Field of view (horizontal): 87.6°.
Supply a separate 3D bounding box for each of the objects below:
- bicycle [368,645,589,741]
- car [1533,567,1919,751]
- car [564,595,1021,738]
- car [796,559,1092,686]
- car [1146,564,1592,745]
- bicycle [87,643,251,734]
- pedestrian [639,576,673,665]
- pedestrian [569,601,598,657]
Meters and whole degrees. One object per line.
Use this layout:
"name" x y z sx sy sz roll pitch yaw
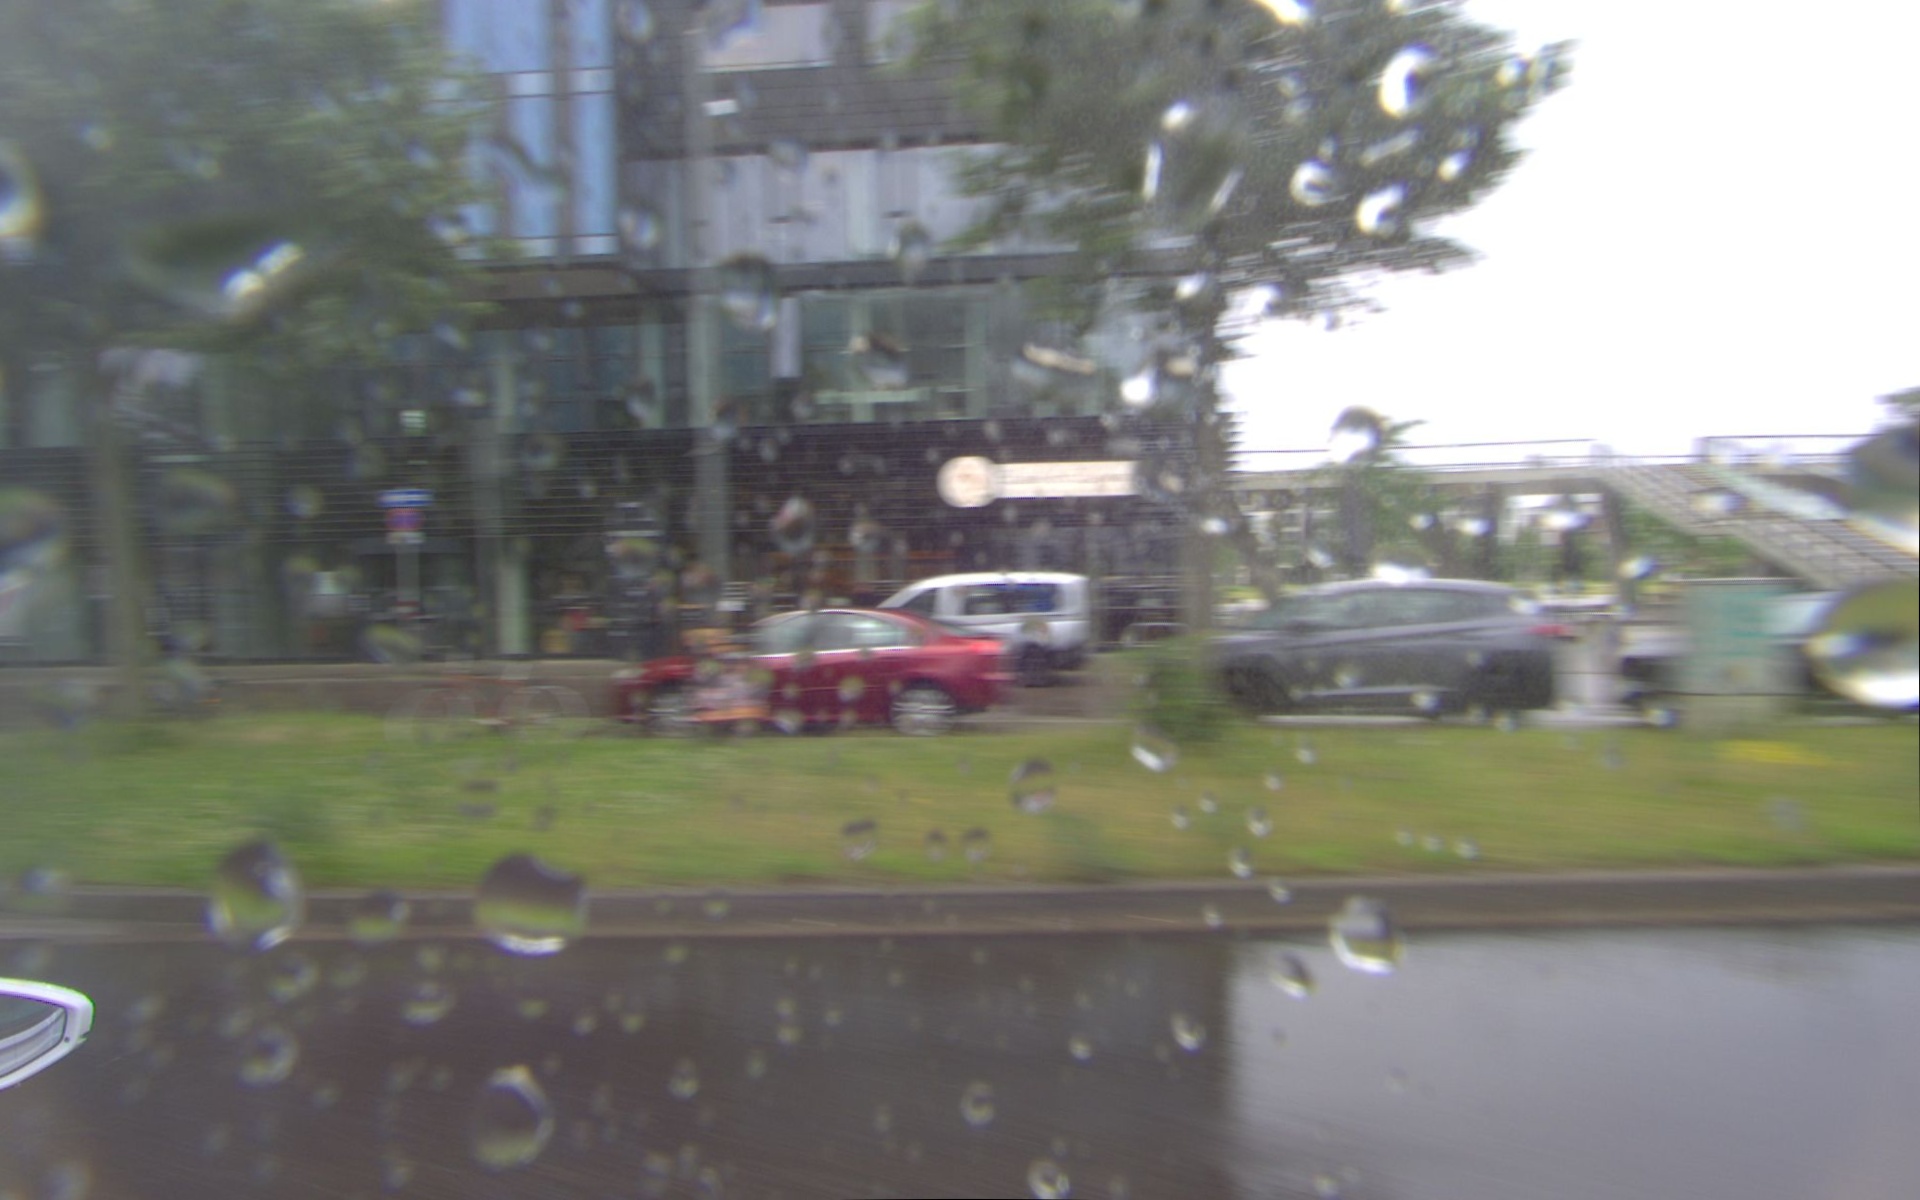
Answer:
"bicycle" -4.711 0.907 9.909 1.879 0.873 0.573 1 2 -11
"car" 9.098 0.585 10.762 4.631 1.730 1.999 1 1 4
"car" -1.759 0.711 11.616 4.863 1.474 1.999 0 1 5
"car" -0.239 0.336 16.772 4.631 1.891 1.899 1 1 2
"car" 4.301 0.533 11.170 4.135 1.730 1.999 1 1 4
"bicycle" -9.220 1.000 11.717 0.427 0.929 1.452 2 2 37
"pedestrian" -6.472 0.424 21.283 0.569 1.857 0.504 0 2 -32
"pedestrian" -8.793 0.666 23.367 0.445 1.254 0.576 0 2 -43
